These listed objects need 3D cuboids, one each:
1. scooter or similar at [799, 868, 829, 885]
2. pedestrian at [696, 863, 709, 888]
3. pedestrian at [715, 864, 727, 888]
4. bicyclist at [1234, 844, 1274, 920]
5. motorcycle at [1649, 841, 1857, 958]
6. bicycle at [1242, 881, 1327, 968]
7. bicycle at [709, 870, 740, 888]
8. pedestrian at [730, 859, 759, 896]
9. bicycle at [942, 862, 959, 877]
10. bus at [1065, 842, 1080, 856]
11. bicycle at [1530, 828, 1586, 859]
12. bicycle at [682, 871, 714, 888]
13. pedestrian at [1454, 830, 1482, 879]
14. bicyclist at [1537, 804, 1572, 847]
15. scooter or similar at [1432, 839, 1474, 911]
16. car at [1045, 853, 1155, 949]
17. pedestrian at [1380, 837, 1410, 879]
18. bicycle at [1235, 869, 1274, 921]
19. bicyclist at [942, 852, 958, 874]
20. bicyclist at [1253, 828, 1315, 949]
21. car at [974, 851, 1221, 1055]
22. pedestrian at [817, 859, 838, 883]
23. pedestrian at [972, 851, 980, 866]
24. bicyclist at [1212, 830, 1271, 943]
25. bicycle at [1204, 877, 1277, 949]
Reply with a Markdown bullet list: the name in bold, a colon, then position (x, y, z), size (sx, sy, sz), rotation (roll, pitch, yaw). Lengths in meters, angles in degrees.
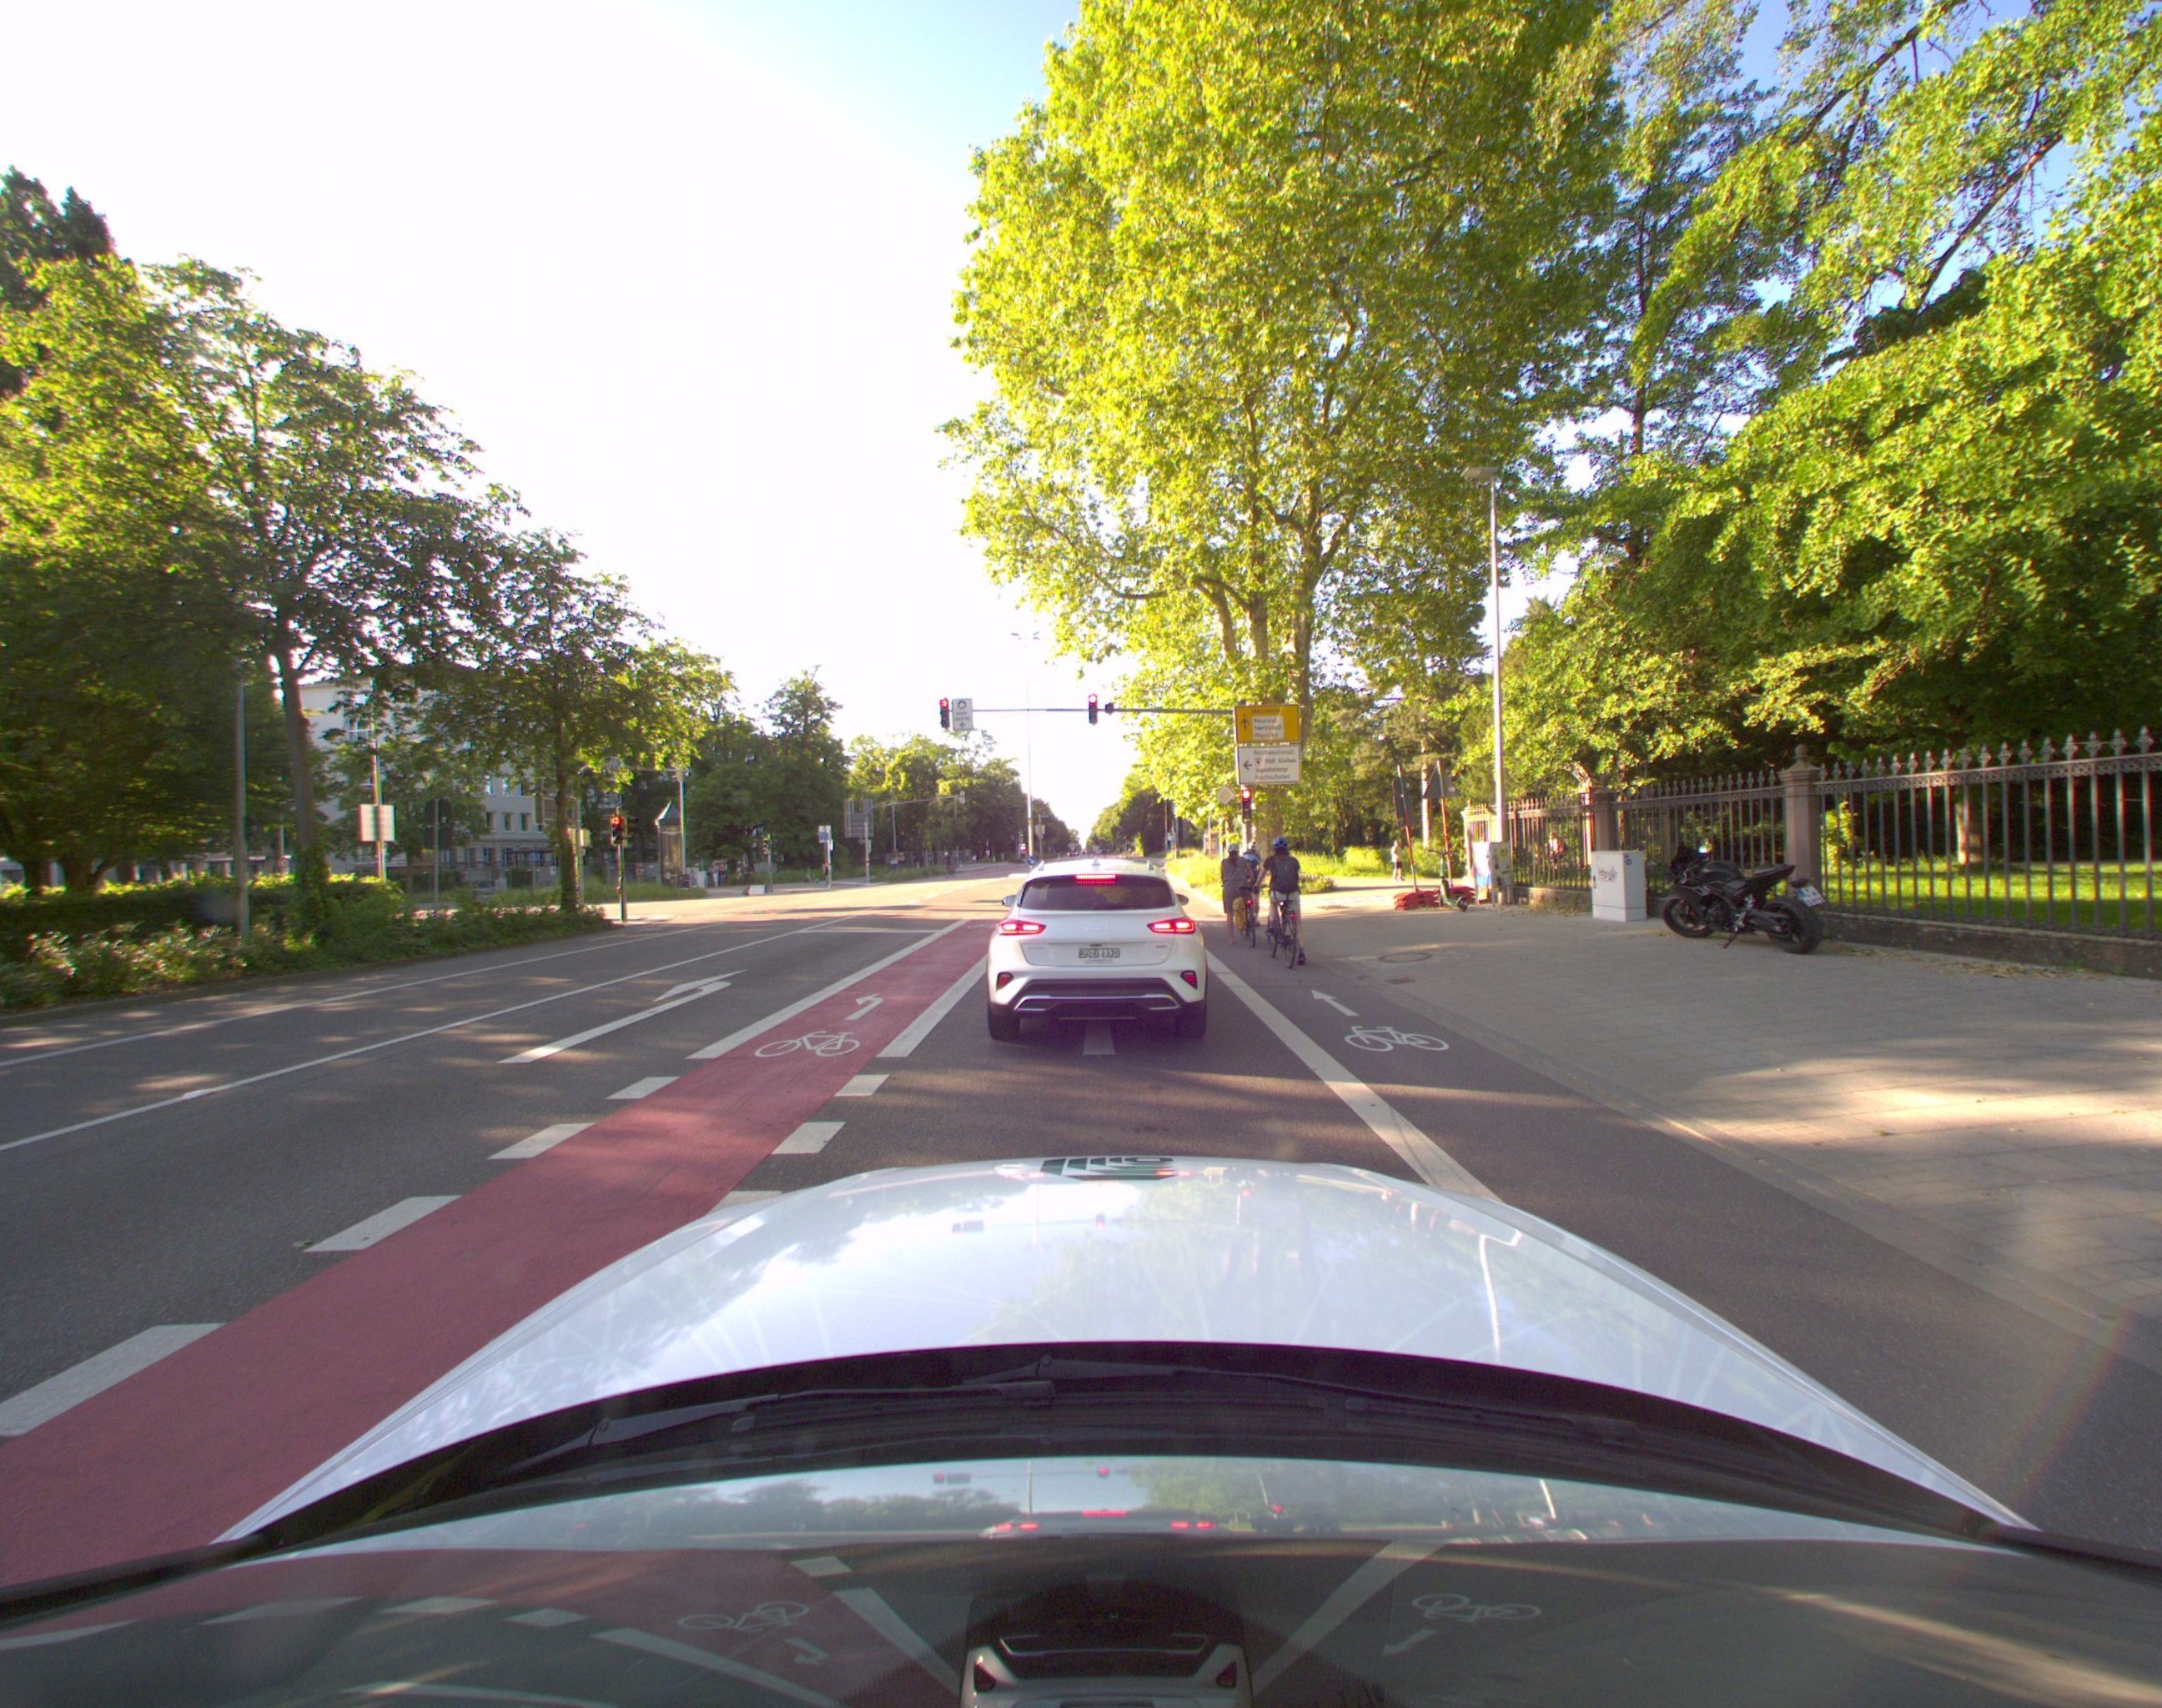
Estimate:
- **scooter or similar**: position (-18.679, 1.588, 57.042), size (0.703, 1.124, 1.933), rotation (-1, 0, 34)
- **pedestrian**: position (-25.441, 1.453, 54.736), size (0.628, 1.642, 0.444), rotation (-1, -1, -8)
- **pedestrian**: position (-24.187, 1.472, 54.672), size (0.628, 1.580, 0.444), rotation (-1, -1, -8)
- **bicyclist**: position (3.519, 0.560, 16.644), size (0.552, 1.478, 0.717), rotation (-5, -1, 0)
- **motorcycle**: position (7.443, 0.460, 9.189), size (0.504, 1.131, 2.170), rotation (-4, 0, 0)
- **bicycle**: position (2.773, 0.927, 11.316), size (0.666, 1.009, 2.081), rotation (-1, 0, 0)
- **bicycle**: position (-24.004, 1.680, 54.818), size (1.859, 1.148, 0.290), rotation (-1, -1, -6)
- **pedestrian**: position (-18.787, 1.304, 45.480), size (0.990, 2.014, 1.193), rotation (-1, -1, 7)
- **bicycle**: position (-9.622, 1.153, 60.116), size (0.660, 0.989, 2.507), rotation (-3, 0, 4)
- **bus**: position (-2.331, -1.389, 226.796), size (3.731, 3.673, 13.231), rotation (-2, 0, -2)
- **bicycle**: position (16.121, -0.344, 27.534), size (1.613, 1.015, 0.474), rotation (-1, -1, -4)
- **bicycle**: position (-25.893, 1.726, 55.061), size (1.859, 1.148, 0.442), rotation (-1, -1, -6)
- **pedestrian**: position (13.671, 0.031, 28.777), size (0.686, 1.699, 0.644), rotation (-1, -1, 1)
- **bicyclist**: position (15.999, -0.956, 27.517), size (0.780, 1.431, 0.665), rotation (-1, -1, -4)
- **scooter or similar**: position (7.213, 0.388, 15.833), size (0.227, 1.327, 1.172), rotation (-3, 0, 0)
- **car**: position (0.317, 0.768, 15.069), size (1.723, 1.483, 3.516), rotation (-3, 0, 0)
- **pedestrian**: position (11.581, 0.161, 30.050), size (0.813, 1.518, 0.918), rotation (-1, -1, 8)
- **bicycle**: position (3.541, 0.814, 16.711), size (0.400, 0.956, 1.551), rotation (-5, 0, 0)
- **bicyclist**: position (-9.675, 0.656, 60.079), size (0.871, 1.608, 1.189), rotation (-3, 0, 4)
- **bicyclist**: position (2.769, 0.456, 11.144), size (0.663, 1.602, 0.721), rotation (-1, 0, 0)
- **car**: position (0.143, 0.732, 8.083), size (1.815, 1.480, 3.936), rotation (-1, 0, 0)
- **pedestrian**: position (-17.189, 1.144, 55.260), size (1.086, 1.603, 0.999), rotation (-3, 0, -5)
- **pedestrian**: position (-12.831, 0.540, 99.208), size (0.782, 1.785, 0.751), rotation (-1, -1, 2)
- **bicyclist**: position (2.651, 0.511, 13.552), size (0.750, 1.795, 1.165), rotation (0, 0, 0)
- **bicycle**: position (2.655, 0.948, 13.834), size (0.755, 1.013, 2.569), rotation (0, 0, 0)
